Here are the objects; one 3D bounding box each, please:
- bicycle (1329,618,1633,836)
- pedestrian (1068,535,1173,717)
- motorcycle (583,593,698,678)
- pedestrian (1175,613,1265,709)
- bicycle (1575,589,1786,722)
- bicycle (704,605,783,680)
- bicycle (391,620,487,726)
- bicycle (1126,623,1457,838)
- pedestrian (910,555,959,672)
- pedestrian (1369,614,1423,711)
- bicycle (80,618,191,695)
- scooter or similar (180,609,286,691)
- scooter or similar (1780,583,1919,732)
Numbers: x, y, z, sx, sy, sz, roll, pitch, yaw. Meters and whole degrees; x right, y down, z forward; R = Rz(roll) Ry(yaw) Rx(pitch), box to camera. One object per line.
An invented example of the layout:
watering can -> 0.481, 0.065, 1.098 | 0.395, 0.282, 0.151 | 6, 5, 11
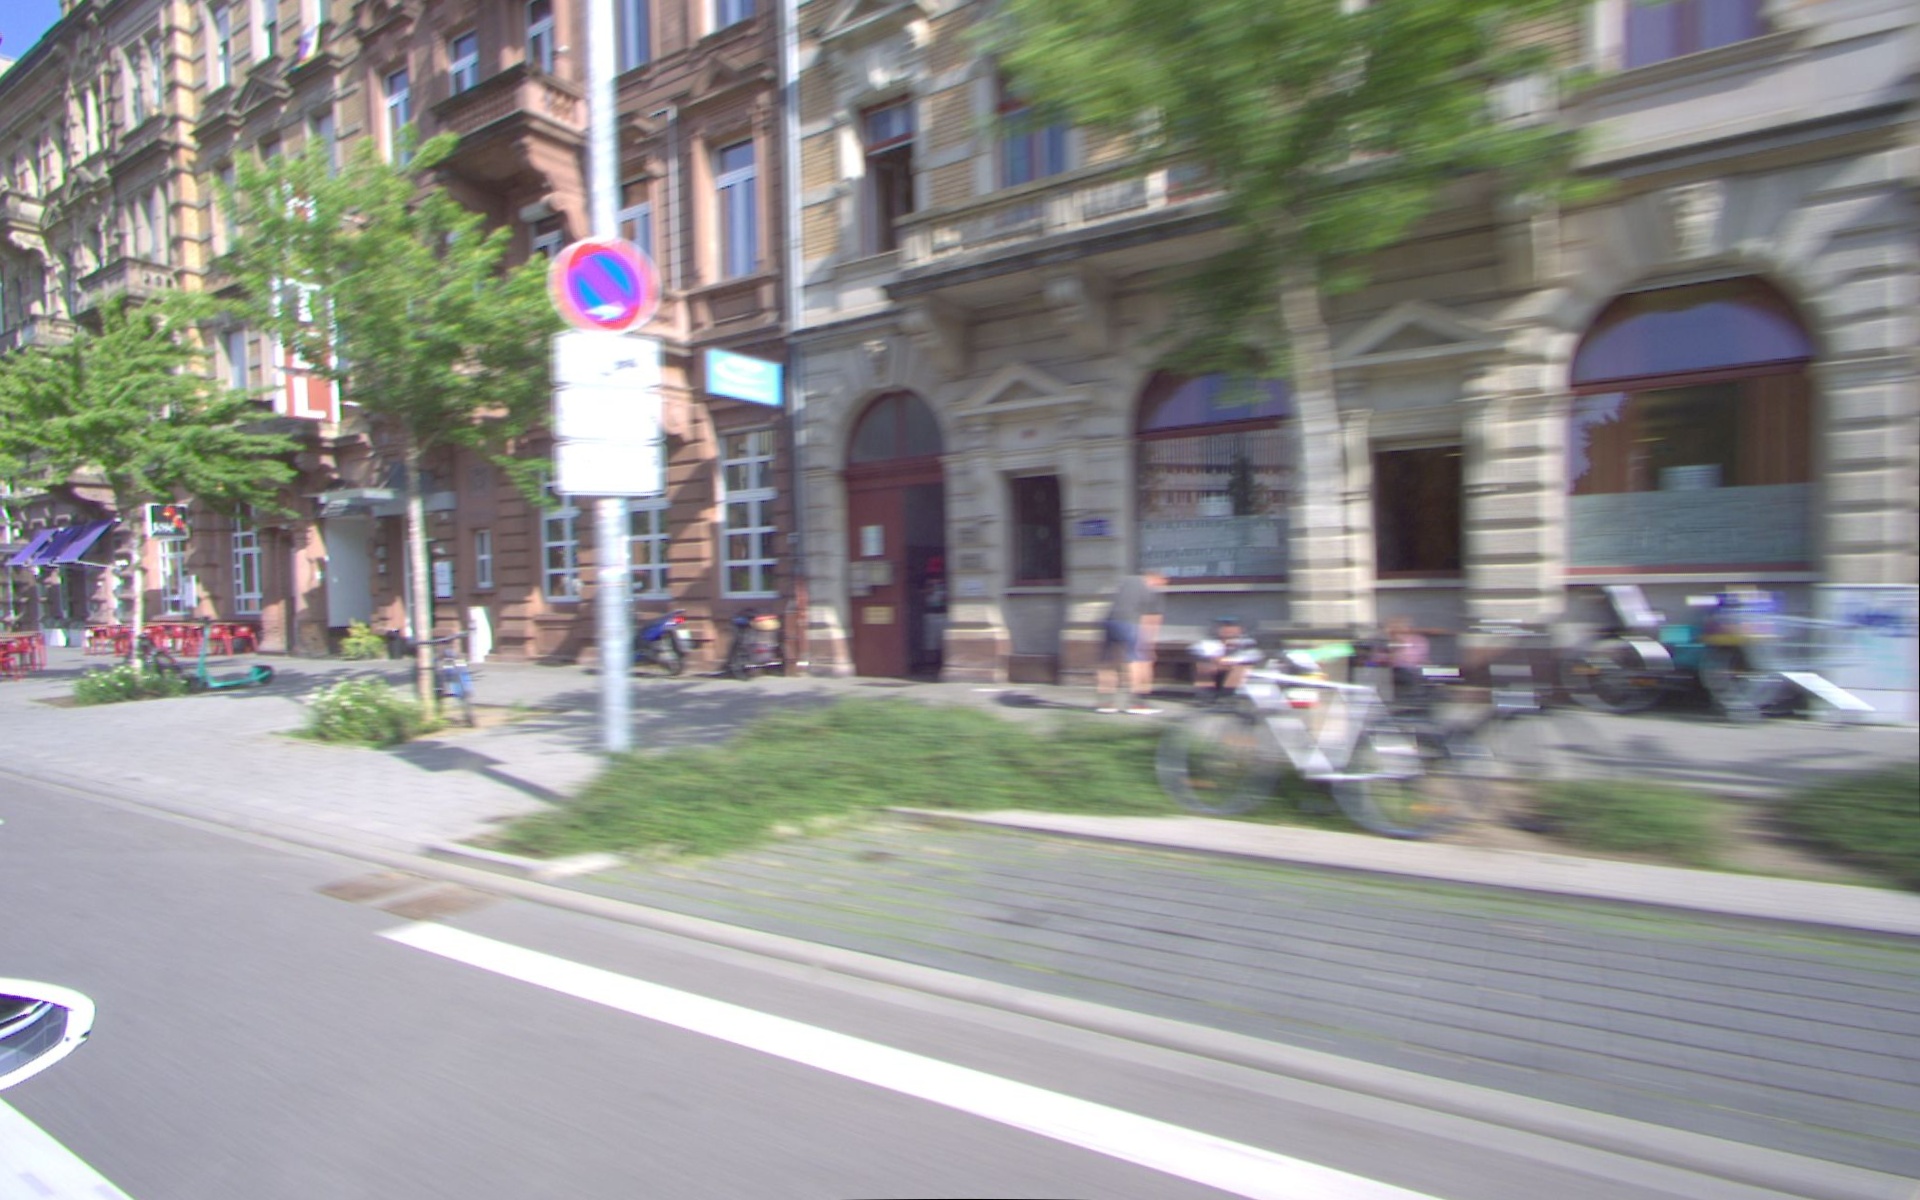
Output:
bicycle -> 3.051, 0.674, 6.109 | 0.447, 1.096, 1.875 | -3, 0, -16
pedestrian -> 1.613, 0.232, 9.980 | 0.781, 1.720, 0.821 | 0, 3, 28
motorcycle -> -4.782, 0.514, 14.925 | 1.918, 1.192, 0.462 | -1, 3, 33
pedestrian -> 2.716, 0.610, 10.409 | 0.700, 0.889, 0.876 | 0, 3, 29
bicycle -> 6.249, 0.462, 8.756 | 1.424, 1.098, 0.451 | -1, 1, 23
bicycle -> -3.127, 0.594, 14.418 | 1.239, 1.032, 0.395 | 0, 1, 38
bicycle -> -6.010, 0.799, 11.517 | 0.501, 1.075, 1.696 | -4, 4, -43
bicycle -> 1.923, 0.703, 5.945 | 1.800, 1.108, 0.491 | 0, 1, 33
pedestrian -> -0.370, 0.192, 14.676 | 0.560, 1.680, 0.484 | 0, 1, 20
pedestrian -> 4.207, 0.587, 9.643 | 0.450, 0.867, 0.569 | 0, 4, 26
bicycle -> -13.036, 0.870, 15.820 | 1.895, 1.137, 0.595 | -1, 1, 26
scooter or similar -> -11.448, 0.763, 15.797 | 0.335, 1.173, 1.251 | 0, 4, 36
scooter or similar -> 7.261, 0.439, 8.083 | 0.918, 1.140, 0.605 | 0, 1, 32
